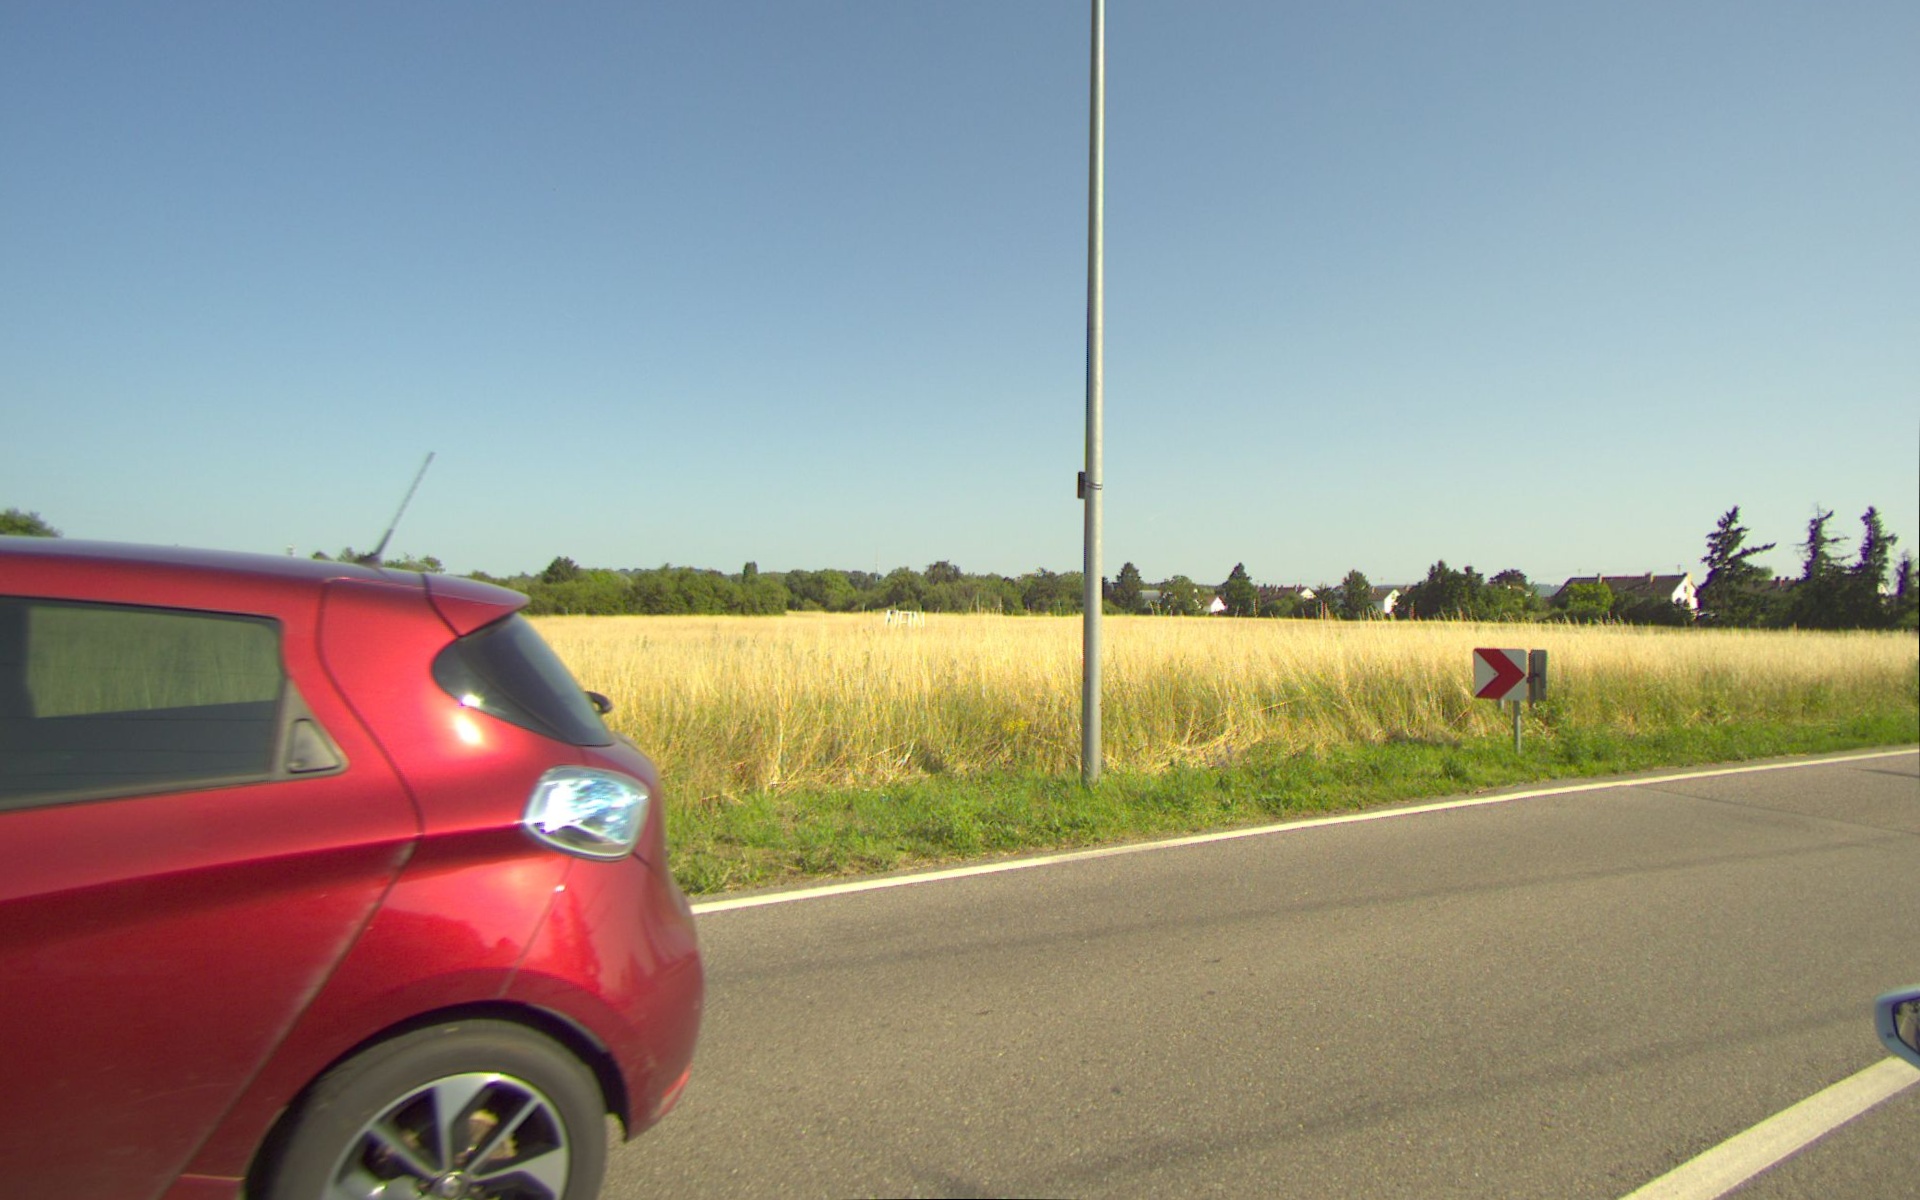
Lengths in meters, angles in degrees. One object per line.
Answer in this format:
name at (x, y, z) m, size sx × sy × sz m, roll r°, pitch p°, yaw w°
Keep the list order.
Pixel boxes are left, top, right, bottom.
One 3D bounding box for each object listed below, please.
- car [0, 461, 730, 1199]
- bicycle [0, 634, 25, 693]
car at (-2.599, 0.543, 1.904) m, size 3.883 × 1.570 × 1.704 m, roll 1°, pitch 0°, yaw -31°
bicycle at (-15.152, 0.933, 14.886) m, size 1.709 × 0.850 × 0.749 m, roll 1°, pitch 0°, yaw -18°
